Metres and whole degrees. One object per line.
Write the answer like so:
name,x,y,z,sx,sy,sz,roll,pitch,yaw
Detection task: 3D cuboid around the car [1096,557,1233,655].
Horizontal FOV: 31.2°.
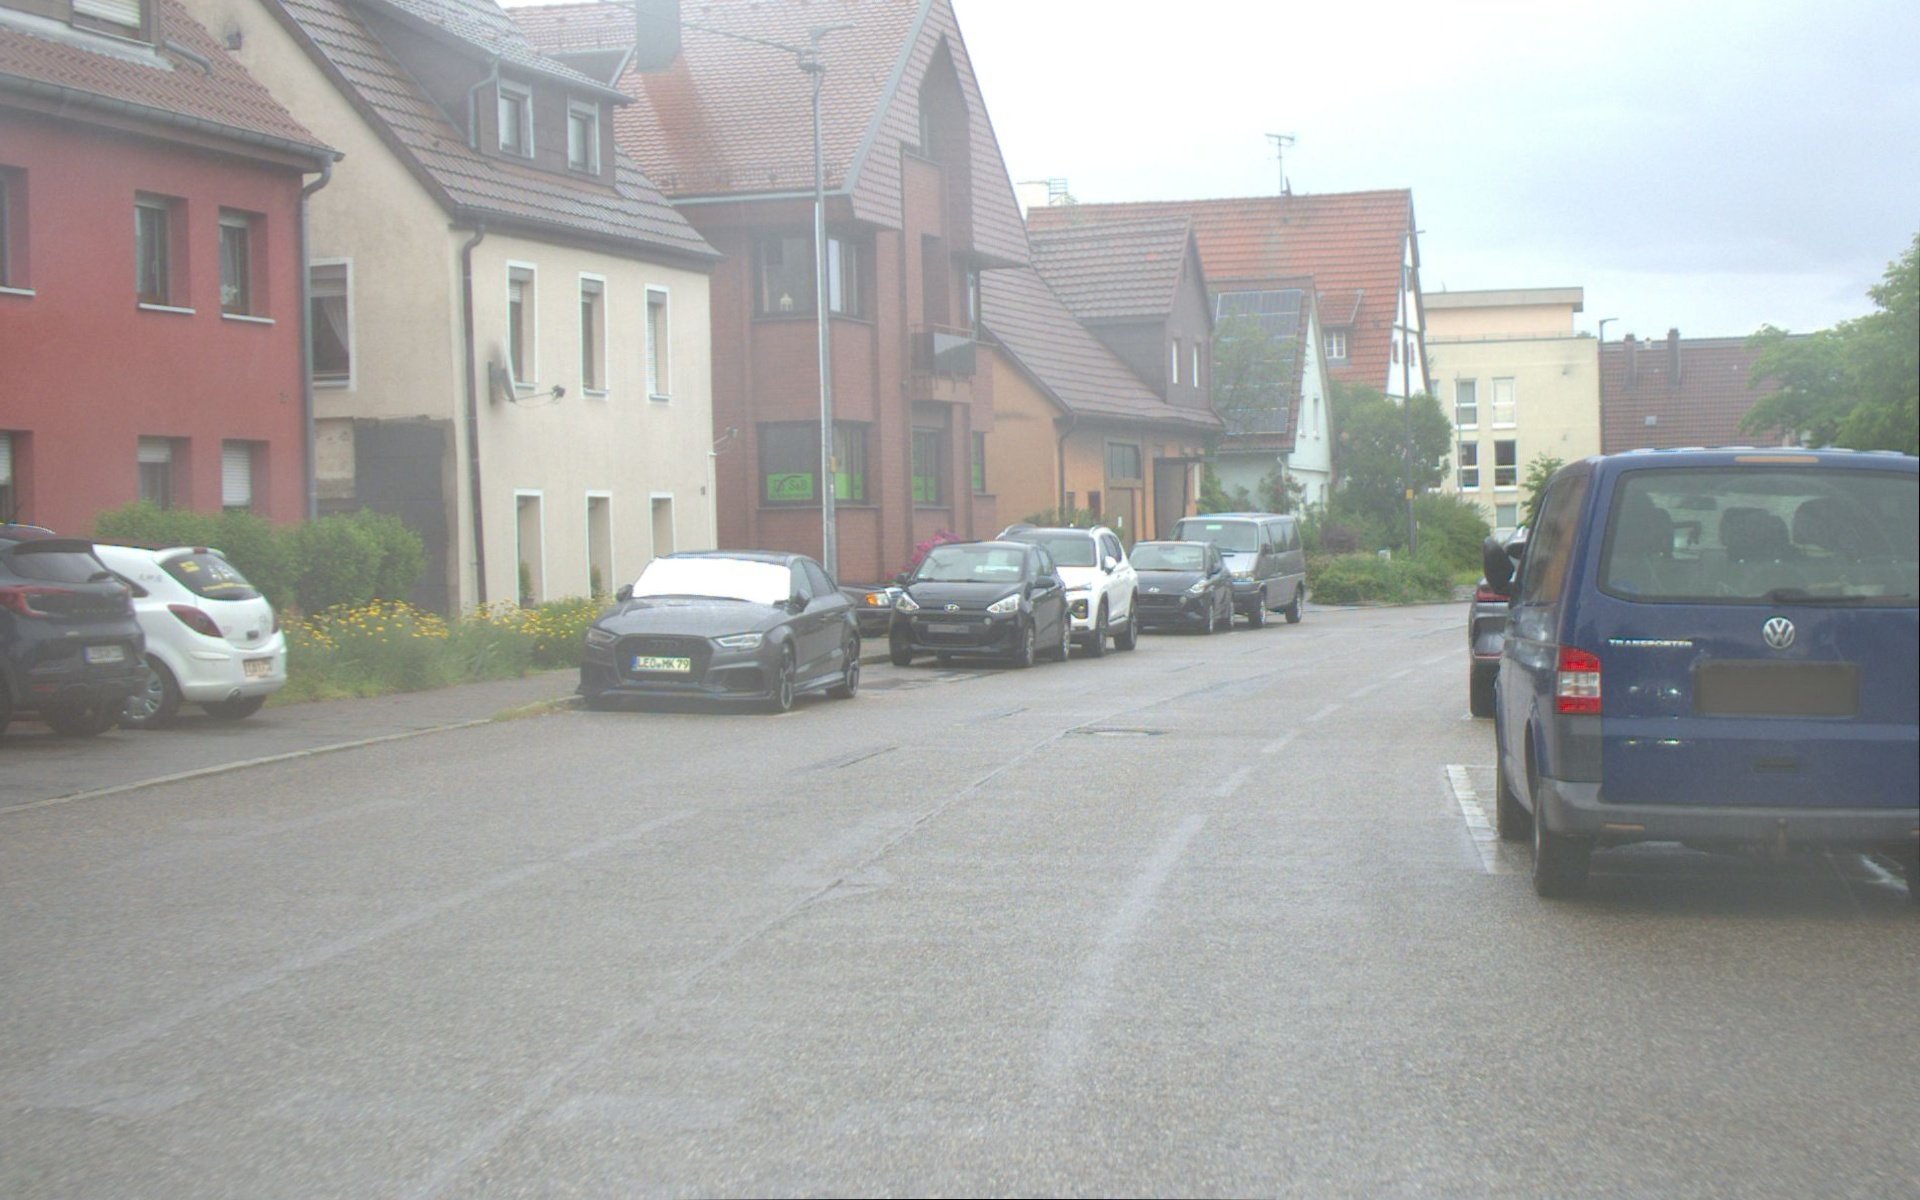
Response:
car,3.299,0.074,55.046,1.579,1.492,3.565,-1,0,13

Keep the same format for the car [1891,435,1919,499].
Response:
car,23.411,-3.205,82.851,1.639,1.425,3.674,-1,0,19

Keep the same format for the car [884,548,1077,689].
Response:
car,0.283,0.202,41.235,1.606,1.612,3.274,-1,0,13

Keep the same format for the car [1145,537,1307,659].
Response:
car,4.684,-0.059,59.864,1.823,2.007,5.210,-1,0,15

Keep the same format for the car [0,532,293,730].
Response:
car,-7.185,0.209,27.031,3.463,1.474,1.589,1,1,15

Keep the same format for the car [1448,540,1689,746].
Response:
car,5.665,0.338,31.609,1.910,1.711,4.553,1,1,13

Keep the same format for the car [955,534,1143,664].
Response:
car,1.241,-0.031,45.689,1.765,1.613,4.654,-1,0,11

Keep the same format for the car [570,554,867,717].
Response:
car,-2.117,0.281,31.278,1.627,1.351,4.109,1,1,12

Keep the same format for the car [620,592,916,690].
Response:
car,-2.955,0.631,53.107,4.176,1.398,1.787,-1,0,20

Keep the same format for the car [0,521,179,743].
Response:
car,-7.697,0.161,24.751,3.578,1.501,1.854,2,1,17

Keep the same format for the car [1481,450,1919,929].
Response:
car,3.523,0.339,16.180,1.931,1.896,4.792,1,1,7

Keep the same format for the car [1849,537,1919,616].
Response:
car,19.453,-0.558,68.775,1.762,1.389,3.992,-8,-2,36
